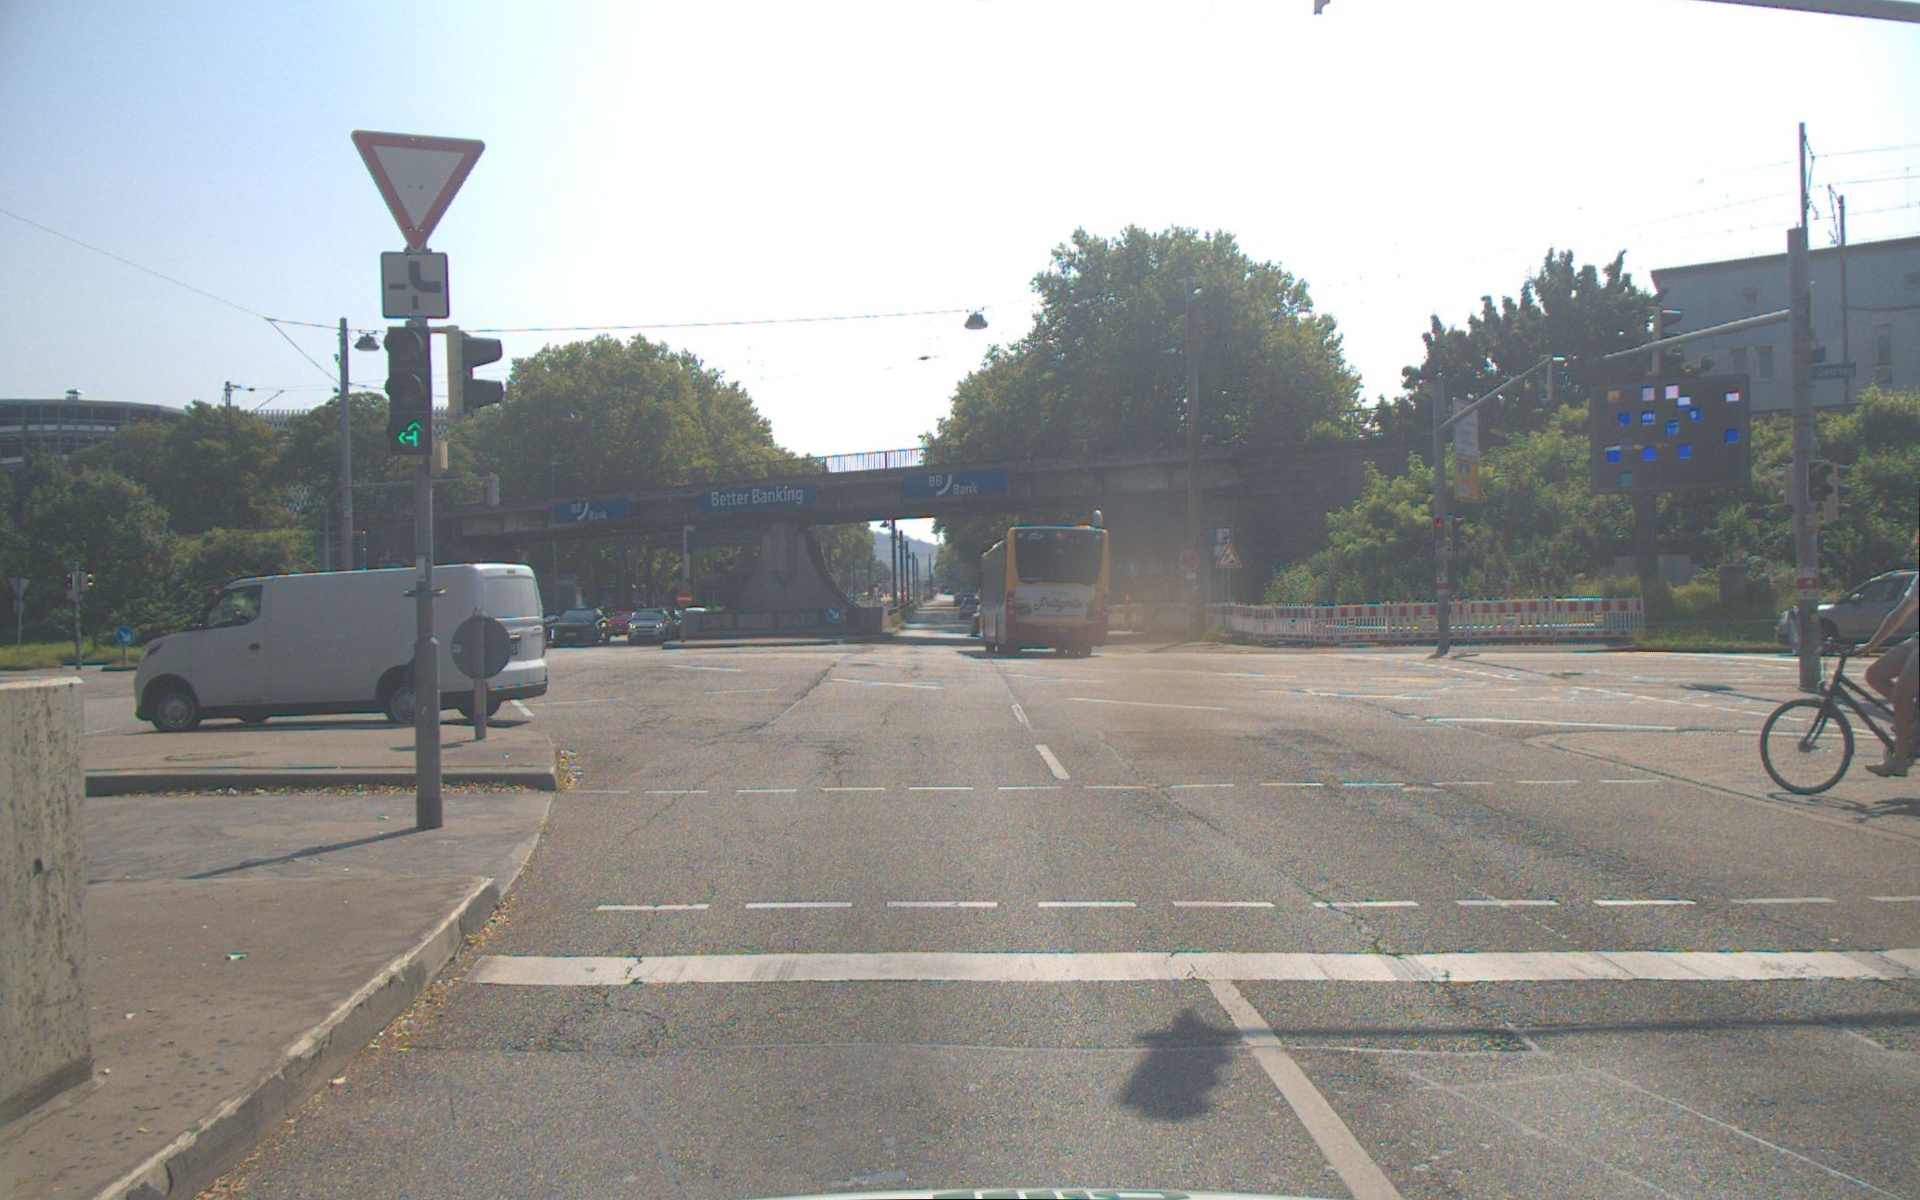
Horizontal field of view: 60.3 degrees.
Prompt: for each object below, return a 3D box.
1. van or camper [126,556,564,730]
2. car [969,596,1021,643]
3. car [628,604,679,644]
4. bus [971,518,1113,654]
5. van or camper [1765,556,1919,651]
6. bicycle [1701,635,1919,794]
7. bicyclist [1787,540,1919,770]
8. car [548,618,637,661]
[{"bbox_3d":[-7.560,0.472,20.452,4.826,1.981,1.849,0,2,13],"label":"van or camper"},{"bbox_3d":[1.550,0.850,74.742,1.954,2.049,3.997,1,0,-4],"label":"car"},{"bbox_3d":[-12.991,0.997,70.246,1.687,1.565,3.692,-2,0,-4],"label":"car"},{"bbox_3d":[1.982,-0.302,45.264,3.071,3.168,12.287,1,0,-1],"label":"bus"},{"bbox_3d":[18.303,0.066,32.650,4.090,1.807,1.845,1,0,35],"label":"van or camper"},{"bbox_3d":[6.600,0.814,12.034,2.168,1.106,0.772,-1,-2,23],"label":"bicycle"},{"bbox_3d":[6.707,0.390,12.041,1.176,1.622,0.598,1,-1,23],"label":"bicyclist"},{"bbox_3d":[-15.758,1.687,71.109,1.861,1.645,4.478,-3,-1,14],"label":"car"}]
